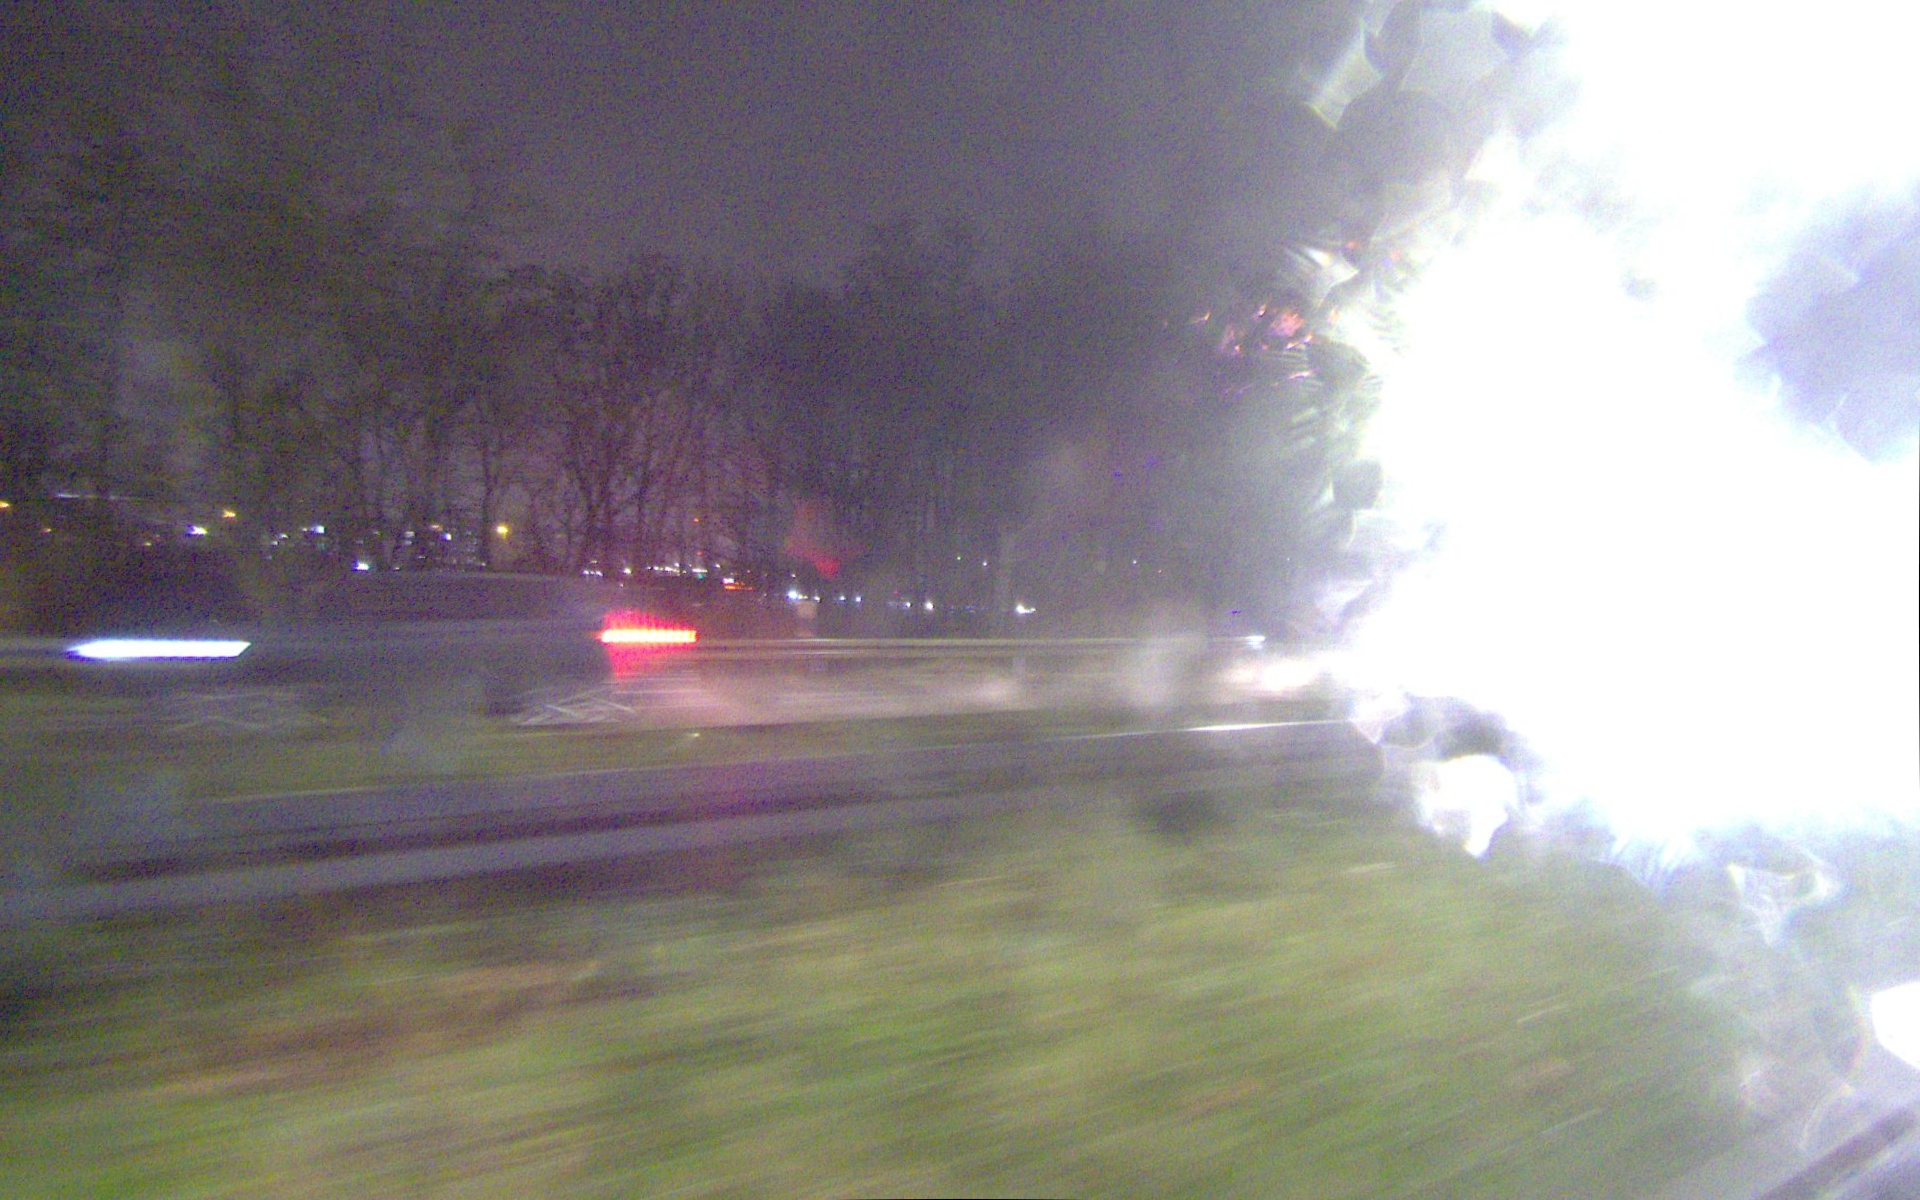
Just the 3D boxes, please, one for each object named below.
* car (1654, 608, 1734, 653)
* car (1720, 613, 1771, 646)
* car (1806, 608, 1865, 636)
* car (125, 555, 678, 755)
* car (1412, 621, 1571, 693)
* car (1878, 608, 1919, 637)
[{"bbox_3d":[25.976,1.035,35.498,1.770,1.476,4.551,-1,-1,43],"label":"car"},{"bbox_3d":[36.709,1.399,46.999,1.767,1.476,4.560,-1,-2,37],"label":"car"},{"bbox_3d":[59.481,1.470,68.297,2.057,1.665,3.725,6,3,27],"label":"car"},{"bbox_3d":[-5.368,0.505,10.142,4.515,1.614,1.763,2,-1,-35],"label":"car"},{"bbox_3d":[12.229,1.286,23.050,3.903,1.515,1.722,2,-2,-37],"label":"car"},{"bbox_3d":[55.631,1.319,58.744,1.788,1.639,3.996,3,1,26],"label":"car"}]
